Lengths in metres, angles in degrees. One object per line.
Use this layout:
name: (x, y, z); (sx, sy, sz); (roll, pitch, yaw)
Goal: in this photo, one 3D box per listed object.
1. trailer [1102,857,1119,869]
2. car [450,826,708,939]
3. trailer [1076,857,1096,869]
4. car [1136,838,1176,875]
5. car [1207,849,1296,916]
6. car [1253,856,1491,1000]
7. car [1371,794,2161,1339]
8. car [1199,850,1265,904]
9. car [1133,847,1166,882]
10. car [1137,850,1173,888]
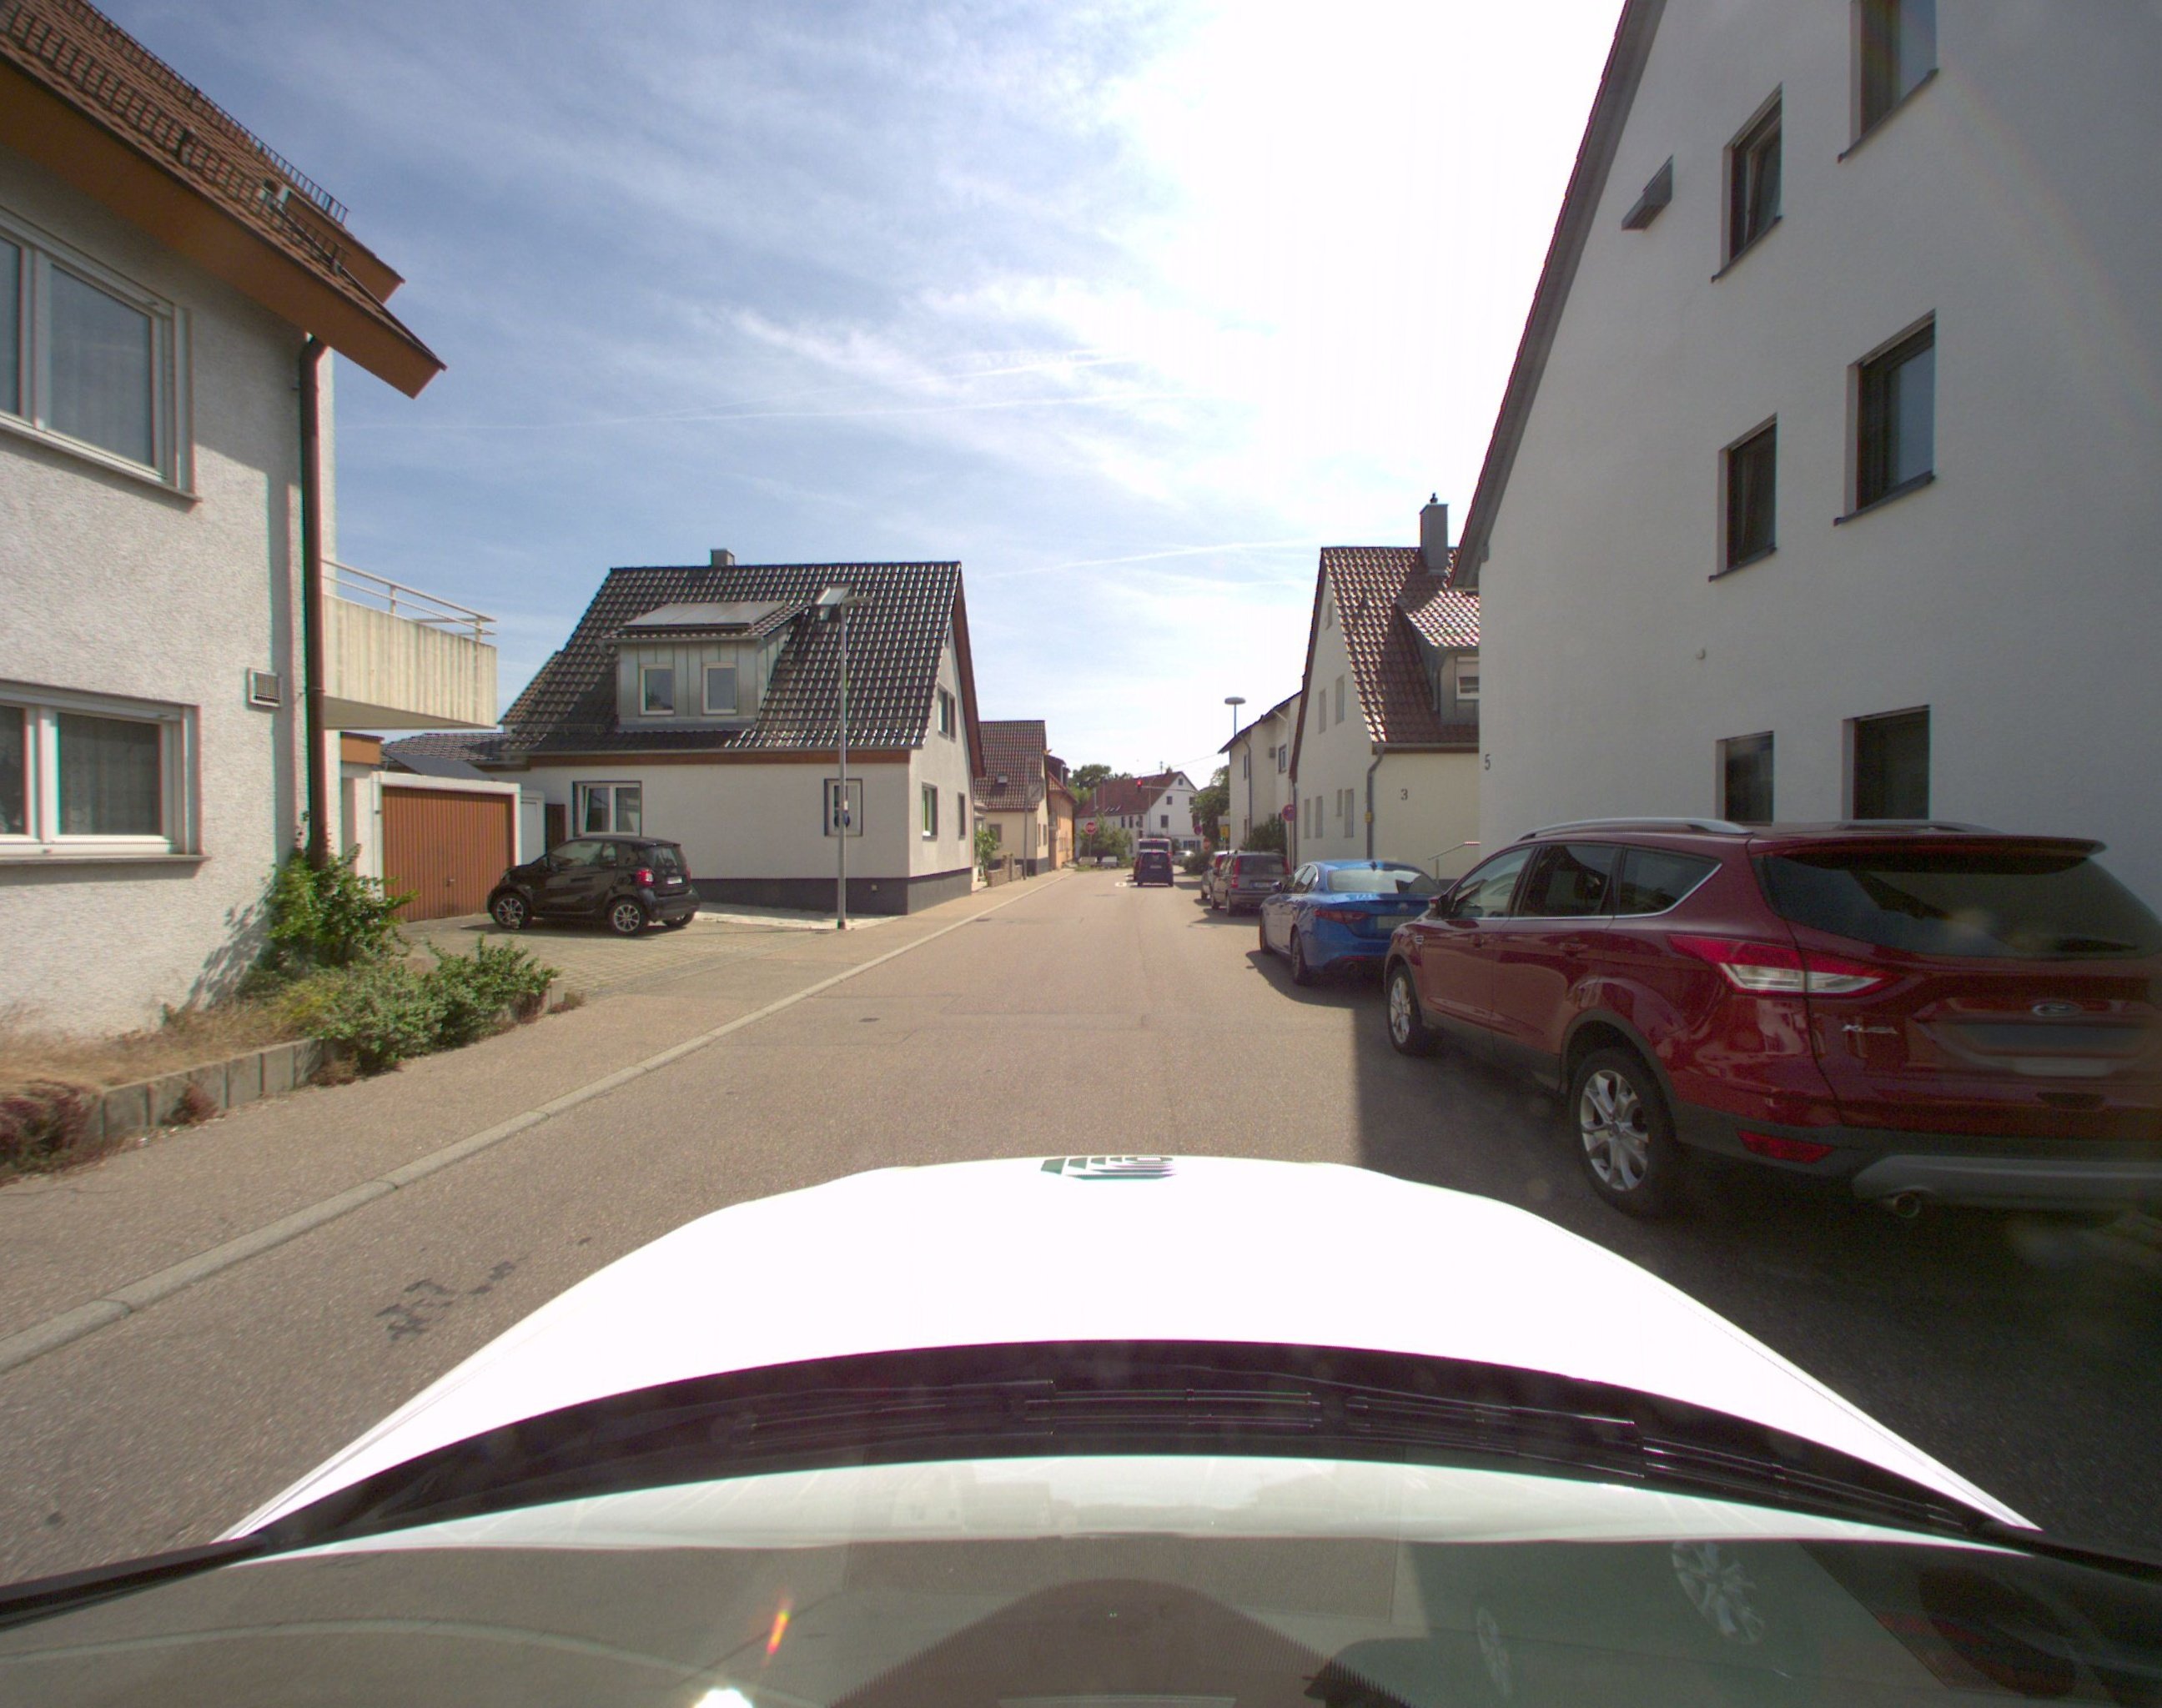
trailer: (2.342, 0.744, 65.346); (1.305, 0.970, 0.934); (0, 0, 4)
car: (-8.185, 0.434, 13.490); (3.099, 1.577, 1.715); (3, 0, 1)
trailer: (0.381, 0.696, 65.593); (1.495, 0.927, 1.013); (2, 0, 4)
car: (4.638, 0.147, 49.743); (2.116, 2.158, 4.748); (0, 0, 9)
car: (4.175, 0.646, 20.418); (1.562, 1.545, 3.450); (0, 0, 1)
car: (3.427, 0.753, 10.558); (1.755, 1.424, 4.597); (0, 0, 4)
car: (3.226, 0.655, 4.656); (1.867, 1.700, 4.187); (1, 0, 4)
car: (4.499, 0.642, 24.623); (1.492, 1.513, 3.363); (0, 0, 2)
car: (3.450, 0.499, 40.515); (1.508, 1.624, 3.190); (-1, 0, 6)
car: (3.280, 0.632, 35.754); (1.508, 1.567, 3.190); (0, 0, 6)
